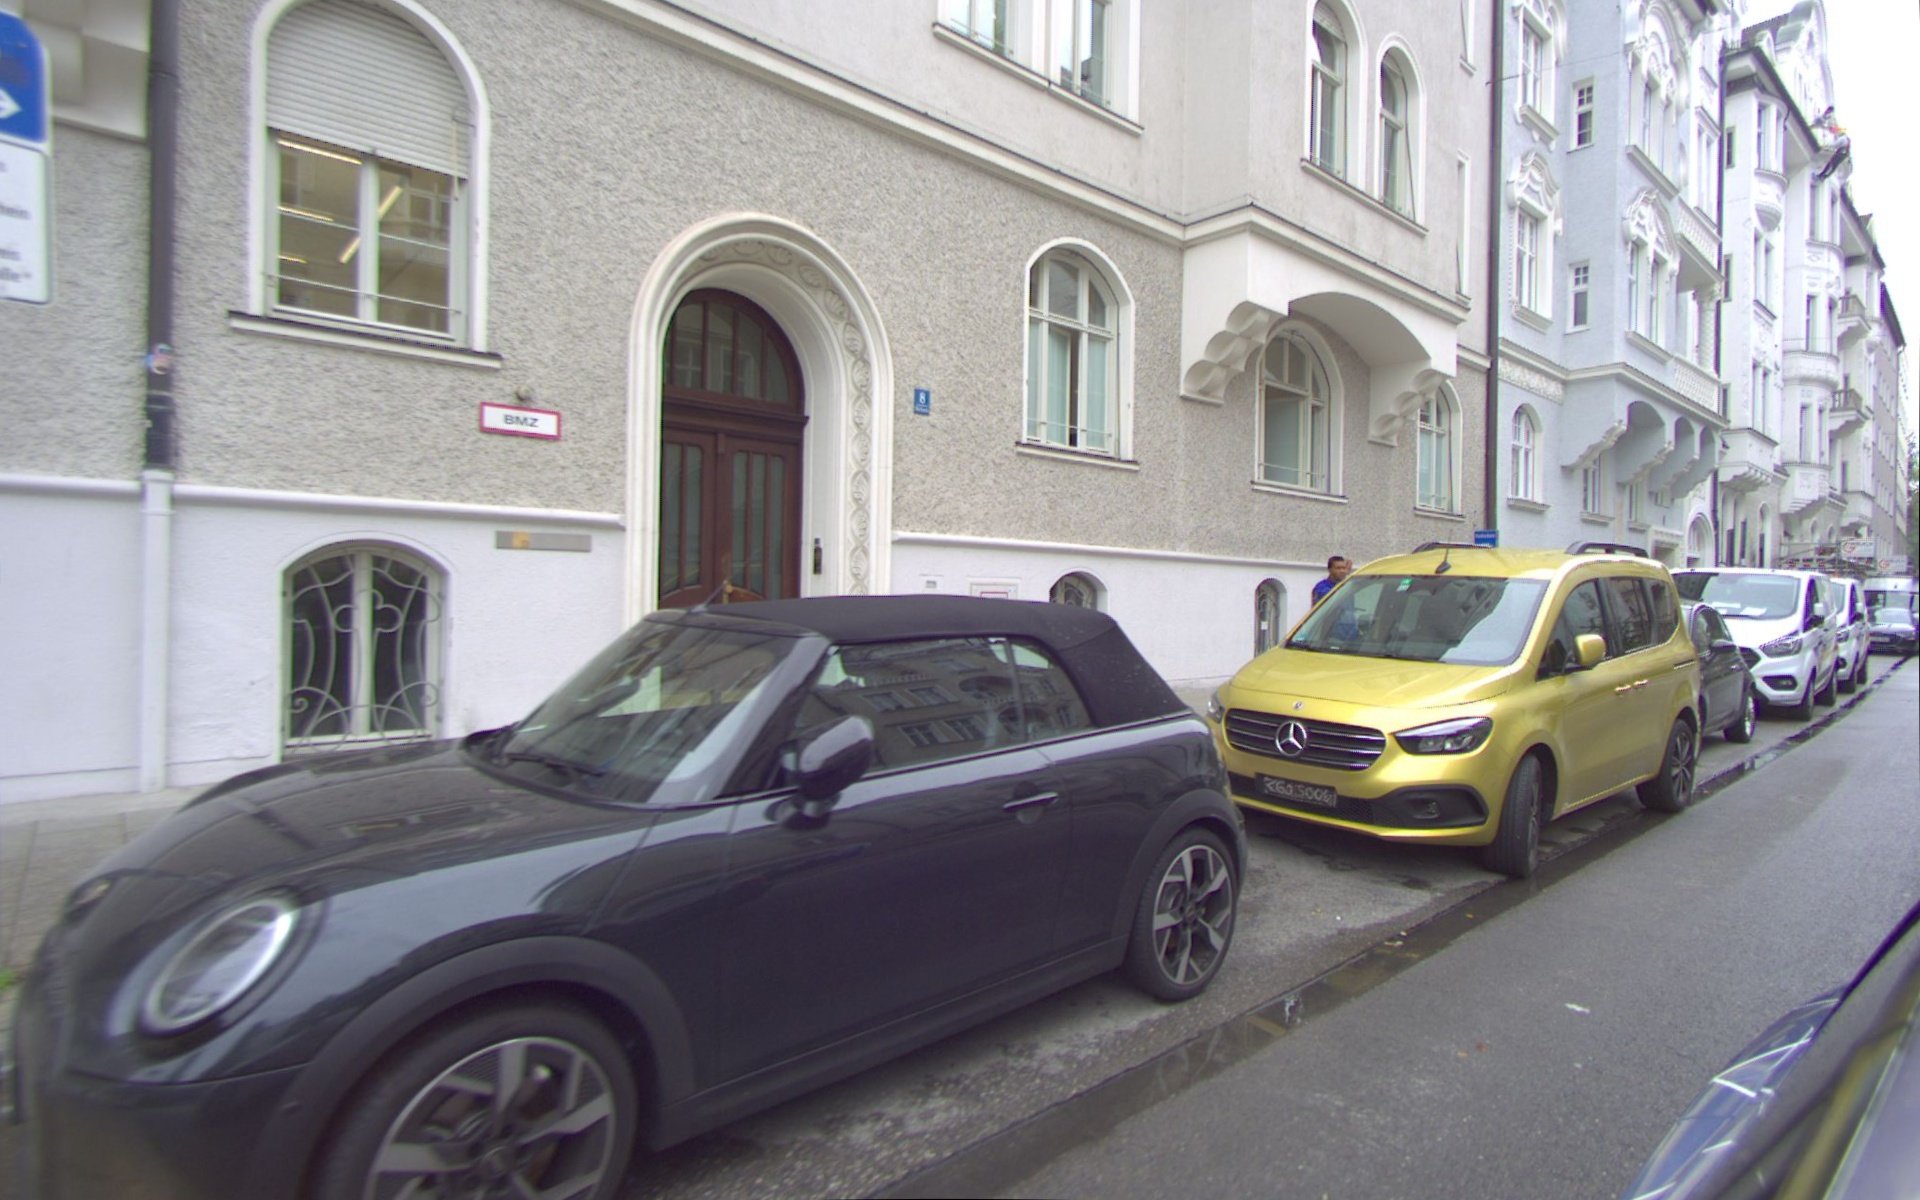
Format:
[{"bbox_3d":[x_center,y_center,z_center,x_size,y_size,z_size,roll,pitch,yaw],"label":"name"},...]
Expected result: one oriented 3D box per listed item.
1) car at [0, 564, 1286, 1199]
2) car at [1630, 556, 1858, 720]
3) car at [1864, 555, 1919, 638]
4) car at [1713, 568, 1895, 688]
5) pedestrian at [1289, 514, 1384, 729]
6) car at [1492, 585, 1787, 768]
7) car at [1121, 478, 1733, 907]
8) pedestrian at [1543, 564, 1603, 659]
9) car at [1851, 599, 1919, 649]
[{"bbox_3d":[-0.666,0.656,3.415,3.762,1.463,1.715,0,1,-42],"label":"car"},{"bbox_3d":[11.265,0.422,14.397,1.994,1.942,4.807,1,1,45],"label":"car"},{"bbox_3d":[33.531,-0.136,35.594,5.354,2.721,2.079,0,2,-44],"label":"car"},{"bbox_3d":[15.656,0.426,18.671,4.796,1.942,1.996,0,1,-43],"label":"car"},{"bbox_3d":[3.733,0.198,10.029,0.714,2.039,0.584,1,0,-40],"label":"pedestrian"},{"bbox_3d":[7.100,0.640,10.427,3.818,1.533,1.636,0,0,-42],"label":"car"},{"bbox_3d":[3.337,0.397,6.796,4.489,1.942,1.998,0,1,-40],"label":"car"},{"bbox_3d":[12.777,0.217,21.086,0.732,1.927,0.853,0,1,-39],"label":"pedestrian"},{"bbox_3d":[29.045,0.693,31.315,4.173,1.425,1.790,0,1,-43],"label":"car"}]
